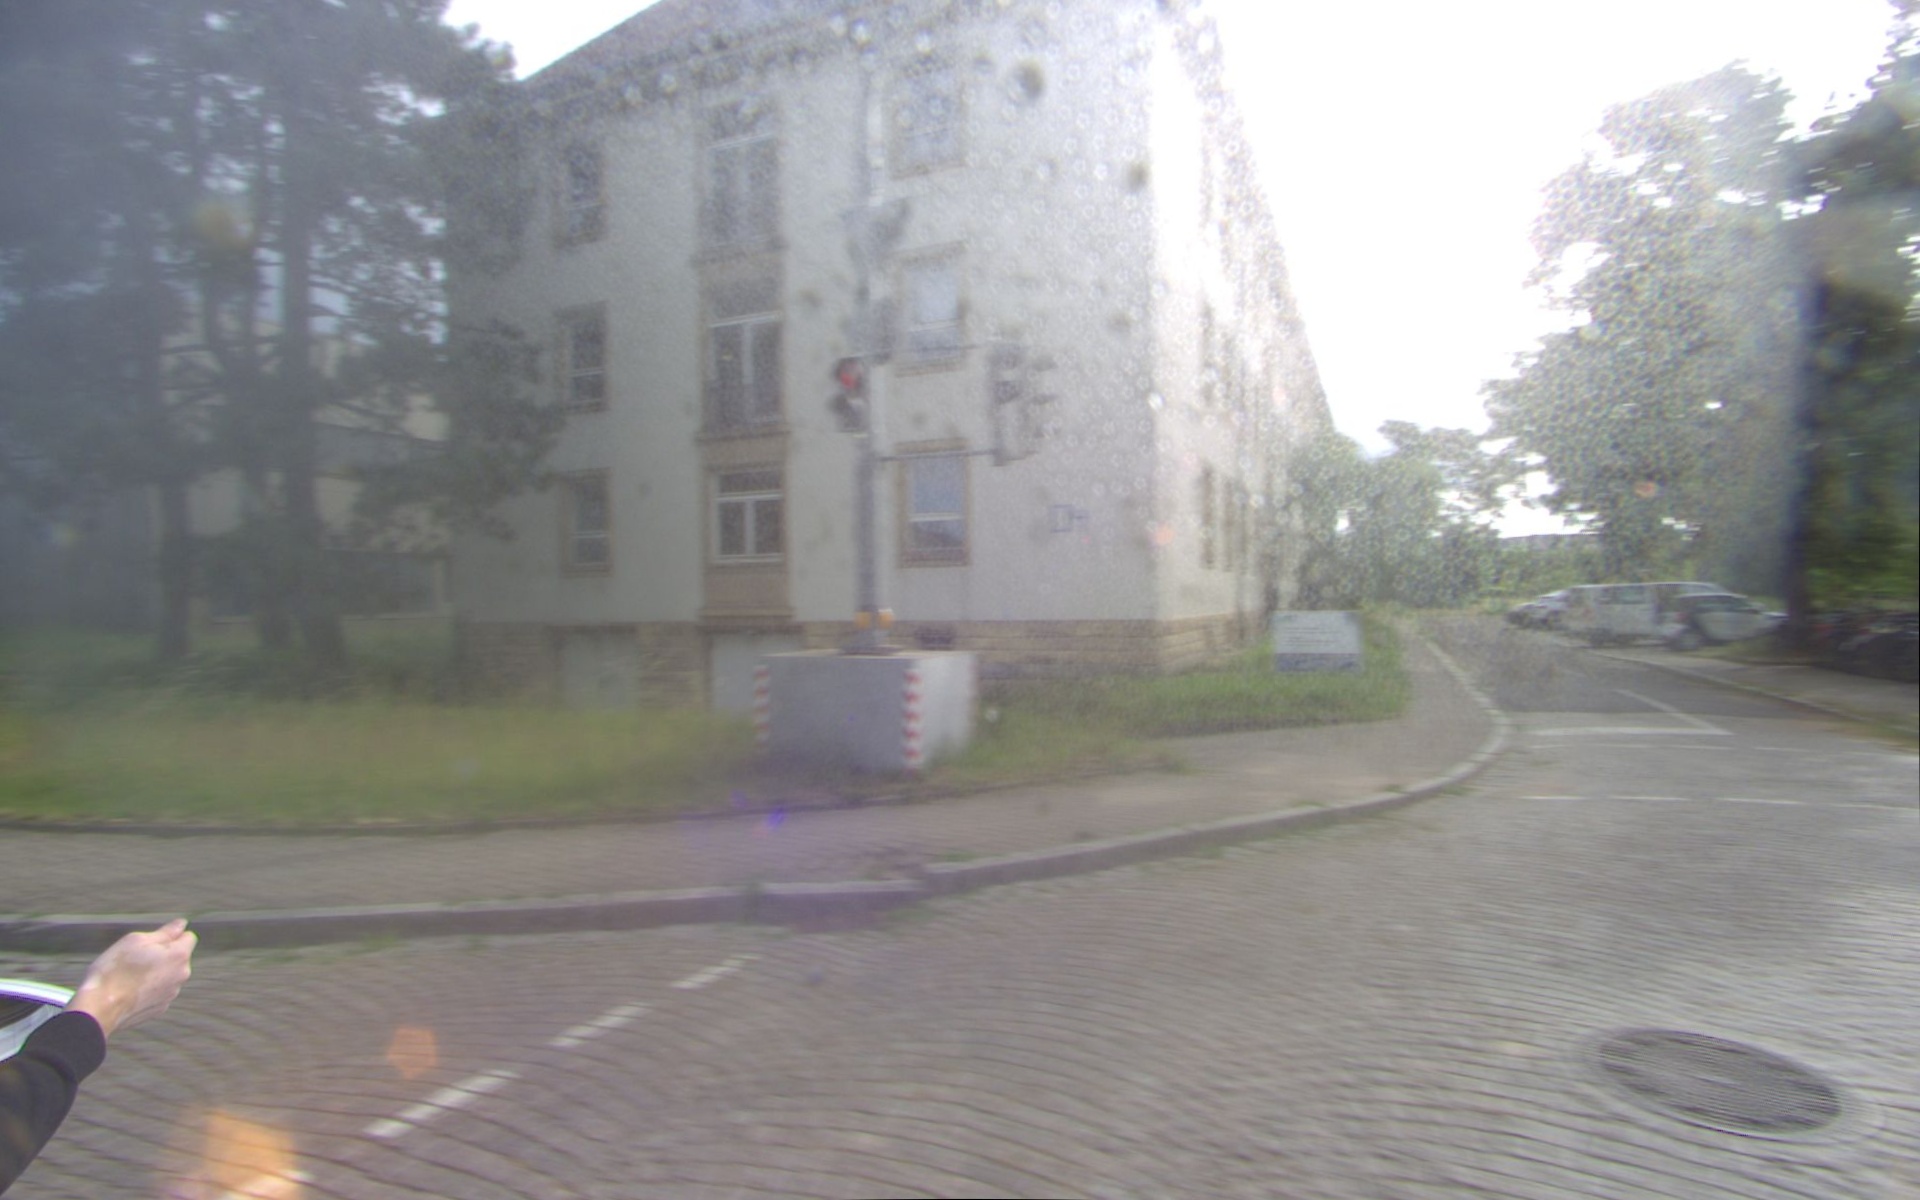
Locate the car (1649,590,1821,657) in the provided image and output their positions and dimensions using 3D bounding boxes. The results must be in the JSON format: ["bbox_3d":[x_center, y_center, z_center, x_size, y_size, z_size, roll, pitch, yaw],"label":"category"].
[{"bbox_3d":[20.594,0.594,26.774,3.180,1.642,1.932,1,0,23],"label":"car"}]

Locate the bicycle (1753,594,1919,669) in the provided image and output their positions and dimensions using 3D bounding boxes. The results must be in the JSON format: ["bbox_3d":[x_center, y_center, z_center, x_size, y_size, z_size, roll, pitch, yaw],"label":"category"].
[{"bbox_3d":[16.989,0.585,19.261,2.532,1.390,0.948,0,1,23],"label":"bicycle"}]

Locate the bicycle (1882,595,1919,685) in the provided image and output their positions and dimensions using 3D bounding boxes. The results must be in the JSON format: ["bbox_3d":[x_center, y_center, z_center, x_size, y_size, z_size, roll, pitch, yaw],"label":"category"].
[{"bbox_3d":[16.036,0.604,15.246,2.764,1.390,0.948,0,1,23],"label":"bicycle"}]

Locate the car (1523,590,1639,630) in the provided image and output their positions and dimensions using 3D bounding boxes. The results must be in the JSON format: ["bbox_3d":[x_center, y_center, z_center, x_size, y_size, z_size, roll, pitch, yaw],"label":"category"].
[{"bbox_3d":[26.467,0.428,42.827,3.931,1.621,1.699,0,0,21],"label":"car"}]

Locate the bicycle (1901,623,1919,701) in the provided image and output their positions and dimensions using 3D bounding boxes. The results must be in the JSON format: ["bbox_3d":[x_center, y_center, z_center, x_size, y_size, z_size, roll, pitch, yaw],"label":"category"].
[{"bbox_3d":[12.763,0.820,12.669,0.718,1.010,1.971,0,0,27],"label":"bicycle"}]

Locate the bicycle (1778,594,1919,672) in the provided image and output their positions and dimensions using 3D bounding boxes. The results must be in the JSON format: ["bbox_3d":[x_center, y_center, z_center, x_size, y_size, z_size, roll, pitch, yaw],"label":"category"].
[{"bbox_3d":[16.815,0.584,18.424,2.532,1.390,0.948,0,1,23],"label":"bicycle"}]

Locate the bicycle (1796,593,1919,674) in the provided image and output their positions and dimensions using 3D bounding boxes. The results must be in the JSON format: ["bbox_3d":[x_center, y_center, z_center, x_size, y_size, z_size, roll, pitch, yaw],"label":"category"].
[{"bbox_3d":[16.503,0.580,17.646,2.532,1.390,0.948,0,1,23],"label":"bicycle"}]

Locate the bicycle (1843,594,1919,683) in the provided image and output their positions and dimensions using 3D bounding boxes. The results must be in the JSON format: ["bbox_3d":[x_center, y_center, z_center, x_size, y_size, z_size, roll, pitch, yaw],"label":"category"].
[{"bbox_3d":[15.947,0.601,15.868,2.764,1.390,0.948,0,1,23],"label":"bicycle"}]

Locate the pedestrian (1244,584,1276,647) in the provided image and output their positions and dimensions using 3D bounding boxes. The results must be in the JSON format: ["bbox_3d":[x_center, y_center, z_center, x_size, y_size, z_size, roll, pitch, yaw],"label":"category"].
[{"bbox_3d":[9.543,0.483,31.886,0.851,1.958,0.836,2,1,12],"label":"pedestrian"}]

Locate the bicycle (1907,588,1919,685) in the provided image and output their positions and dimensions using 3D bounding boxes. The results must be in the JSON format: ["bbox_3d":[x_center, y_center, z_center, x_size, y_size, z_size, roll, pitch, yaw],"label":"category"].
[{"bbox_3d":[14.914,0.520,13.778,2.583,1.385,0.872,0,1,23],"label":"bicycle"}]

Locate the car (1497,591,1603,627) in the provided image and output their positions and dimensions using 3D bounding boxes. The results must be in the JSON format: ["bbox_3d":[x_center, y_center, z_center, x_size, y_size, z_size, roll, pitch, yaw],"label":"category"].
[{"bbox_3d":[27.026,0.411,46.003,3.931,1.621,1.699,0,0,21],"label":"car"}]

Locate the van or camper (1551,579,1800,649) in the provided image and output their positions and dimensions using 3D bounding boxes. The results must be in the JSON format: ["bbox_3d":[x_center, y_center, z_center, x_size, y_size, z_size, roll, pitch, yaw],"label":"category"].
[{"bbox_3d":[21.245,0.425,30.018,5.651,1.983,2.236,0,0,11],"label":"van or camper"}]

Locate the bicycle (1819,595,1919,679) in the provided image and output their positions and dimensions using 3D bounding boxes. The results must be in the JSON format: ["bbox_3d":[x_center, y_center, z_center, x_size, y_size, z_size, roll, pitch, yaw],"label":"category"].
[{"bbox_3d":[16.265,0.606,16.702,2.764,1.390,0.948,0,1,23],"label":"bicycle"}]

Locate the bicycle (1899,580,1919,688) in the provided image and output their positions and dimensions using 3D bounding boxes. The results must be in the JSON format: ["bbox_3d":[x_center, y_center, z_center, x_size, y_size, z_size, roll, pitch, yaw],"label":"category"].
[{"bbox_3d":[15.561,0.501,14.440,2.764,1.605,0.948,0,1,23],"label":"bicycle"}]

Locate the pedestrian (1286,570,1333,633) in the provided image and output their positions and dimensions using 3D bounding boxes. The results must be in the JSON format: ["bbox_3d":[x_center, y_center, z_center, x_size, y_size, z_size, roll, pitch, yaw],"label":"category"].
[{"bbox_3d":[10.814,0.045,31.039,1.176,1.895,1.548,1,1,13],"label":"pedestrian"}]
